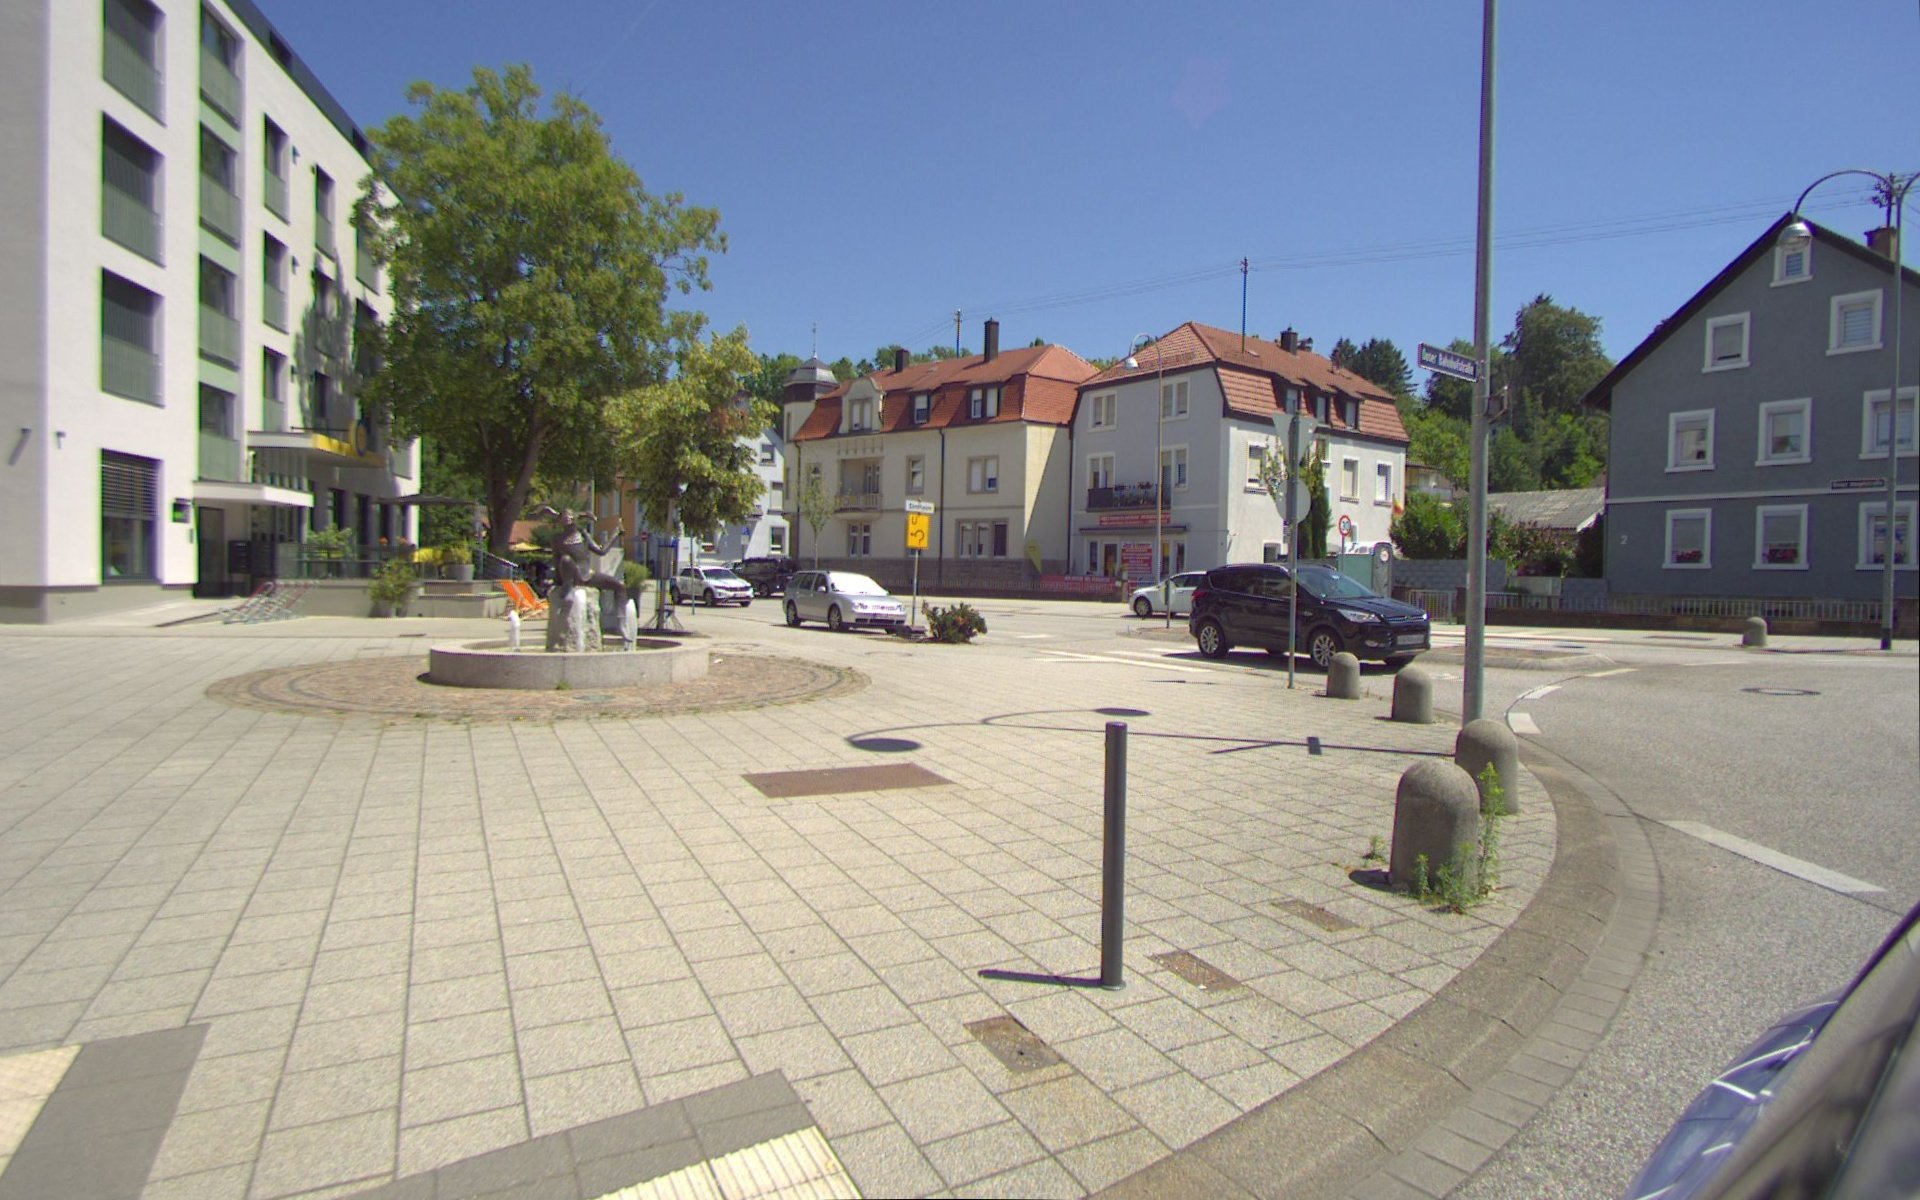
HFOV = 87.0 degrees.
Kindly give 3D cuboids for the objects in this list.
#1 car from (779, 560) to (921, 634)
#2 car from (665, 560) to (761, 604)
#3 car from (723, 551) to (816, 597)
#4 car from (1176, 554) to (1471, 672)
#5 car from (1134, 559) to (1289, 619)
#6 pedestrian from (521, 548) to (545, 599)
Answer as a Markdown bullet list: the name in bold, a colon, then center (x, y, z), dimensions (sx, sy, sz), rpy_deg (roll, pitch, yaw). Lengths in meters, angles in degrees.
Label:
- **car**: center (-2.745, -0.114, 24.515), dimensions (1.766, 1.610, 4.003), rpy_deg (2, 1, -33)
- **car**: center (-9.723, -0.743, 39.692), dimensions (3.987, 1.593, 1.809), rpy_deg (3, 3, 43)
- **car**: center (-8.976, -1.239, 47.461), dimensions (4.268, 1.888, 1.971), rpy_deg (5, 2, 40)
- **car**: center (5.925, 0.100, 17.109), dimensions (1.960, 1.709, 4.533), rpy_deg (-1, 2, -29)
- **car**: center (7.703, -0.399, 31.283), dimensions (1.968, 1.603, 4.278), rpy_deg (-7, 6, -43)
- **pedestrian**: center (-13.995, -0.870, 33.136), dimensions (0.648, 1.648, 0.400), rpy_deg (4, 2, 39)
